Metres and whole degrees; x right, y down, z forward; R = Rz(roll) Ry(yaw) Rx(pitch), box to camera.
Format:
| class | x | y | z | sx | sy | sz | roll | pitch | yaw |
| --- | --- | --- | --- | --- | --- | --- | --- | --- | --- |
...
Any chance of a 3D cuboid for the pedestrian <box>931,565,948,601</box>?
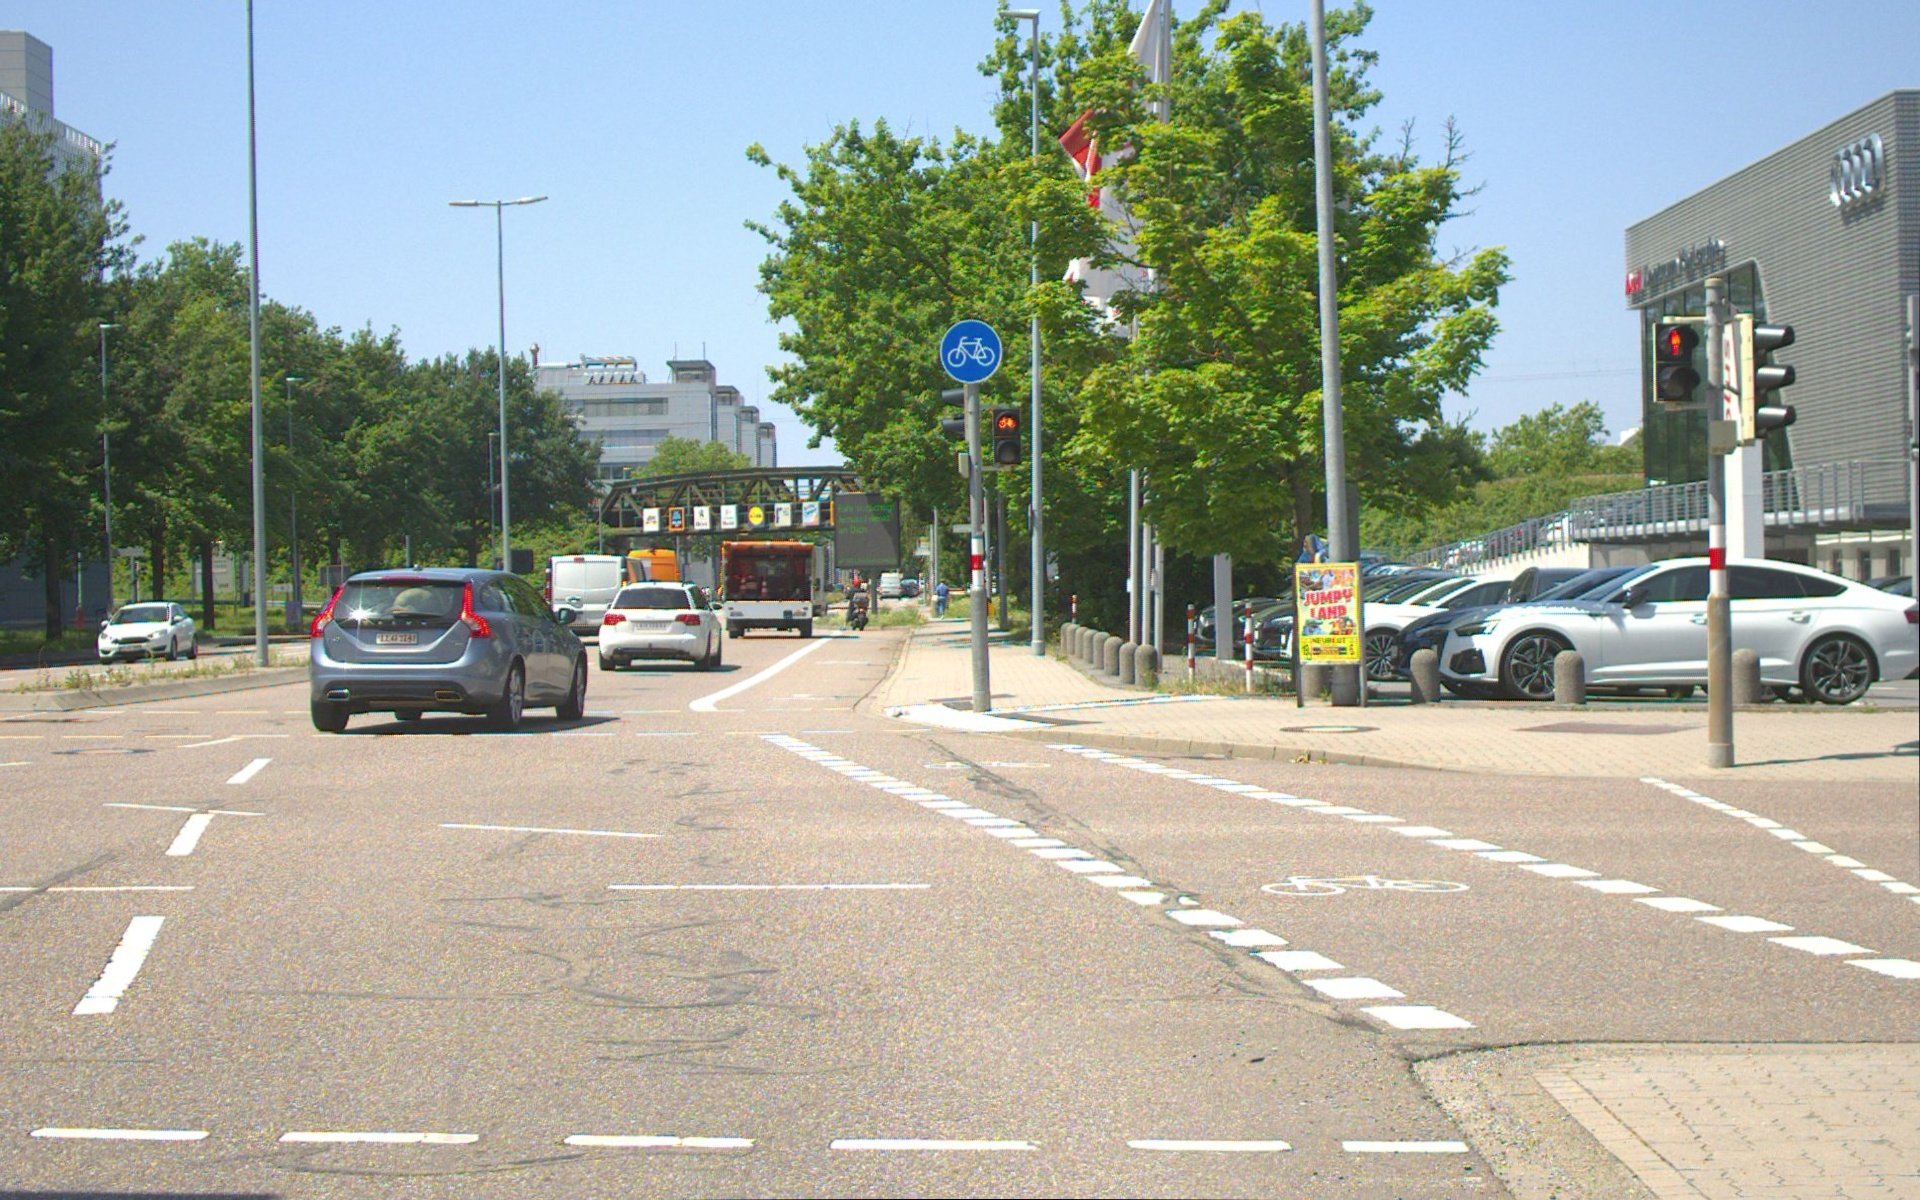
| class | x | y | z | sx | sy | sz | roll | pitch | yaw |
| --- | --- | --- | --- | --- | --- | --- | --- | --- | --- |
| pedestrian | -0.804 | -0.662 | 132.651 | 0.623 | 1.370 | 0.564 | -1 | 0 | -2 |

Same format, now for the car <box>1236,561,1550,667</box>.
| class | x | y | z | sx | sy | sz | roll | pitch | yaw |
| --- | --- | --- | --- | --- | --- | --- | --- | --- | --- |
| car | 6.162 | 0.193 | 49.306 | 4.226 | 1.385 | 1.869 | 1 | 0 | 0 |

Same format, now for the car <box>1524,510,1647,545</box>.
| class | x | y | z | sx | sy | sz | roll | pitch | yaw |
| --- | --- | --- | --- | --- | --- | --- | --- | --- | --- |
| car | 21.922 | -2.536 | 120.566 | 3.938 | 1.207 | 1.718 | 0 | 0 | -5 |

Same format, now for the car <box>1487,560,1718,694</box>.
| class | x | y | z | sx | sy | sz | roll | pitch | yaw |
| --- | --- | --- | --- | --- | --- | --- | --- | --- | --- |
| car | 7.336 | 0.278 | 39.683 | 1.863 | 1.415 | 4.662 | 1 | 0 | 1 |

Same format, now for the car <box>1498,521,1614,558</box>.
| class | x | y | z | sx | sy | sz | roll | pitch | yaw |
| --- | --- | --- | --- | --- | --- | --- | --- | --- | --- |
| car | 22.443 | -2.263 | 129.513 | 3.986 | 1.307 | 1.798 | 1 | 0 | -5 |

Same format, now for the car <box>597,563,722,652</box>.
| class | x | y | z | sx | sy | sz | roll | pitch | yaw |
| --- | --- | --- | --- | --- | --- | --- | --- | --- | --- |
| car | -4.845 | 0.102 | 55.809 | 1.744 | 1.391 | 3.529 | 0 | 1 | -1 |

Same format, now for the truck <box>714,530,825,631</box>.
| class | x | y | z | sx | sy | sz | roll | pitch | yaw |
| --- | --- | --- | --- | --- | --- | --- | --- | --- | --- |
| truck | -4.778 | -0.508 | 87.091 | 2.458 | 2.402 | 7.134 | 1 | 1 | -1 |

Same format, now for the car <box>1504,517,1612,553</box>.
| class | x | y | z | sx | sy | sz | roll | pitch | yaw |
| --- | --- | --- | --- | --- | --- | --- | --- | --- | --- |
| car | 21.682 | -2.352 | 124.689 | 3.523 | 1.235 | 1.677 | 1 | 0 | -5 |

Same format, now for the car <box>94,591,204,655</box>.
| class | x | y | z | sx | sy | sz | roll | pitch | yaw |
| --- | --- | --- | --- | --- | --- | --- | --- | --- | --- |
| car | -19.829 | 0.549 | 84.201 | 1.743 | 1.481 | 4.000 | -2 | 0 | -1 |

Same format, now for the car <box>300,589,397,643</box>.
| class | x | y | z | sx | sy | sz | roll | pitch | yaw |
| --- | --- | --- | --- | --- | --- | --- | --- | --- | --- |
| car | -17.467 | 0.452 | 98.418 | 1.726 | 1.441 | 4.719 | -3 | 0 | 2 |

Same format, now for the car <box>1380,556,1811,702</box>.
| class | x | y | z | sx | sy | sz | roll | pitch | yaw |
| --- | --- | --- | --- | --- | --- | --- | --- | --- | --- |
| car | 6.553 | 0.287 | 35.753 | 4.096 | 1.385 | 1.869 | 1 | 0 | 0 |

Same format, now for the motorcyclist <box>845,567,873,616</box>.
| class | x | y | z | sx | sy | sz | roll | pitch | yaw |
| --- | --- | --- | --- | --- | --- | --- | --- | --- | --- |
| motorcyclist | -3.125 | -0.265 | 106.072 | 0.719 | 1.524 | 0.871 | 1 | 0 | -10 |

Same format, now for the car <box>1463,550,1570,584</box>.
| class | x | y | z | sx | sy | sz | roll | pitch | yaw |
| --- | --- | --- | --- | --- | --- | --- | --- | --- | --- |
| car | 22.888 | -1.359 | 141.510 | 3.986 | 1.307 | 1.798 | -1 | 0 | -5 |

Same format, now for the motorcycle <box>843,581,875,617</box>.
| class | x | y | z | sx | sy | sz | roll | pitch | yaw |
| --- | --- | --- | --- | --- | --- | --- | --- | --- | --- |
| motorcycle | -3.128 | -0.033 | 106.076 | 0.716 | 1.101 | 1.831 | 1 | 0 | -10 |

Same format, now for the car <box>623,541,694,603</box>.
| class | x | y | z | sx | sy | sz | roll | pitch | yaw |
| --- | --- | --- | --- | --- | --- | --- | --- | --- | --- |
| car | -10.162 | -0.943 | 116.004 | 1.993 | 2.007 | 4.813 | 1 | 1 | -1 |

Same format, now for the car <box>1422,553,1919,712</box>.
| class | x | y | z | sx | sy | sz | roll | pitch | yaw |
| --- | --- | --- | --- | --- | --- | --- | --- | --- | --- |
| car | 6.886 | 0.304 | 33.252 | 4.592 | 1.385 | 1.869 | 1 | 0 | 2 |

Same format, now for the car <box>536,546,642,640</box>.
| class | x | y | z | sx | sy | sz | roll | pitch | yaw |
| --- | --- | --- | --- | --- | --- | --- | --- | --- | --- |
| car | -8.194 | -0.162 | 76.275 | 1.993 | 2.007 | 4.000 | 0 | 0 | -1 |

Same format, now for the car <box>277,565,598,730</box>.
| class | x | y | z | sx | sy | sz | roll | pitch | yaw |
| --- | --- | --- | --- | --- | --- | --- | --- | --- | --- |
| car | -4.702 | 0.390 | 31.552 | 1.901 | 1.371 | 4.231 | -1 | 0 | 6 |

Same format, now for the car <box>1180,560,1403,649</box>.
| class | x | y | z | sx | sy | sz | roll | pitch | yaw |
| --- | --- | --- | --- | --- | --- | --- | --- | --- | --- |
| car | 5.788 | 0.078 | 60.318 | 3.681 | 1.448 | 1.834 | 1 | 0 | 0 |

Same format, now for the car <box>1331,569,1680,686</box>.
| class | x | y | z | sx | sy | sz | roll | pitch | yaw |
| --- | --- | --- | --- | --- | --- | --- | --- | --- | --- |
| car | 6.889 | 0.335 | 43.722 | 4.096 | 1.360 | 1.874 | 1 | 0 | 0 |

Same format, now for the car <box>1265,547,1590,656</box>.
| class | x | y | z | sx | sy | sz | roll | pitch | yaw |
| --- | --- | --- | --- | --- | --- | --- | --- | --- | --- |
| car | 6.271 | 0.011 | 46.456 | 4.099 | 1.344 | 1.869 | 1 | 0 | 0 |

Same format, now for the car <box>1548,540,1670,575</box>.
| class | x | y | z | sx | sy | sz | roll | pitch | yaw |
| --- | --- | --- | --- | --- | --- | --- | --- | --- | --- |
| car | 21.963 | -1.434 | 116.397 | 3.724 | 1.127 | 1.684 | 1 | 0 | -5 |

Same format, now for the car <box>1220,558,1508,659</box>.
| class | x | y | z | sx | sy | sz | roll | pitch | yaw |
| --- | --- | --- | --- | --- | --- | --- | --- | --- | --- |
| car | 6.080 | 0.123 | 52.101 | 4.101 | 1.400 | 1.869 | 1 | 0 | 0 |
